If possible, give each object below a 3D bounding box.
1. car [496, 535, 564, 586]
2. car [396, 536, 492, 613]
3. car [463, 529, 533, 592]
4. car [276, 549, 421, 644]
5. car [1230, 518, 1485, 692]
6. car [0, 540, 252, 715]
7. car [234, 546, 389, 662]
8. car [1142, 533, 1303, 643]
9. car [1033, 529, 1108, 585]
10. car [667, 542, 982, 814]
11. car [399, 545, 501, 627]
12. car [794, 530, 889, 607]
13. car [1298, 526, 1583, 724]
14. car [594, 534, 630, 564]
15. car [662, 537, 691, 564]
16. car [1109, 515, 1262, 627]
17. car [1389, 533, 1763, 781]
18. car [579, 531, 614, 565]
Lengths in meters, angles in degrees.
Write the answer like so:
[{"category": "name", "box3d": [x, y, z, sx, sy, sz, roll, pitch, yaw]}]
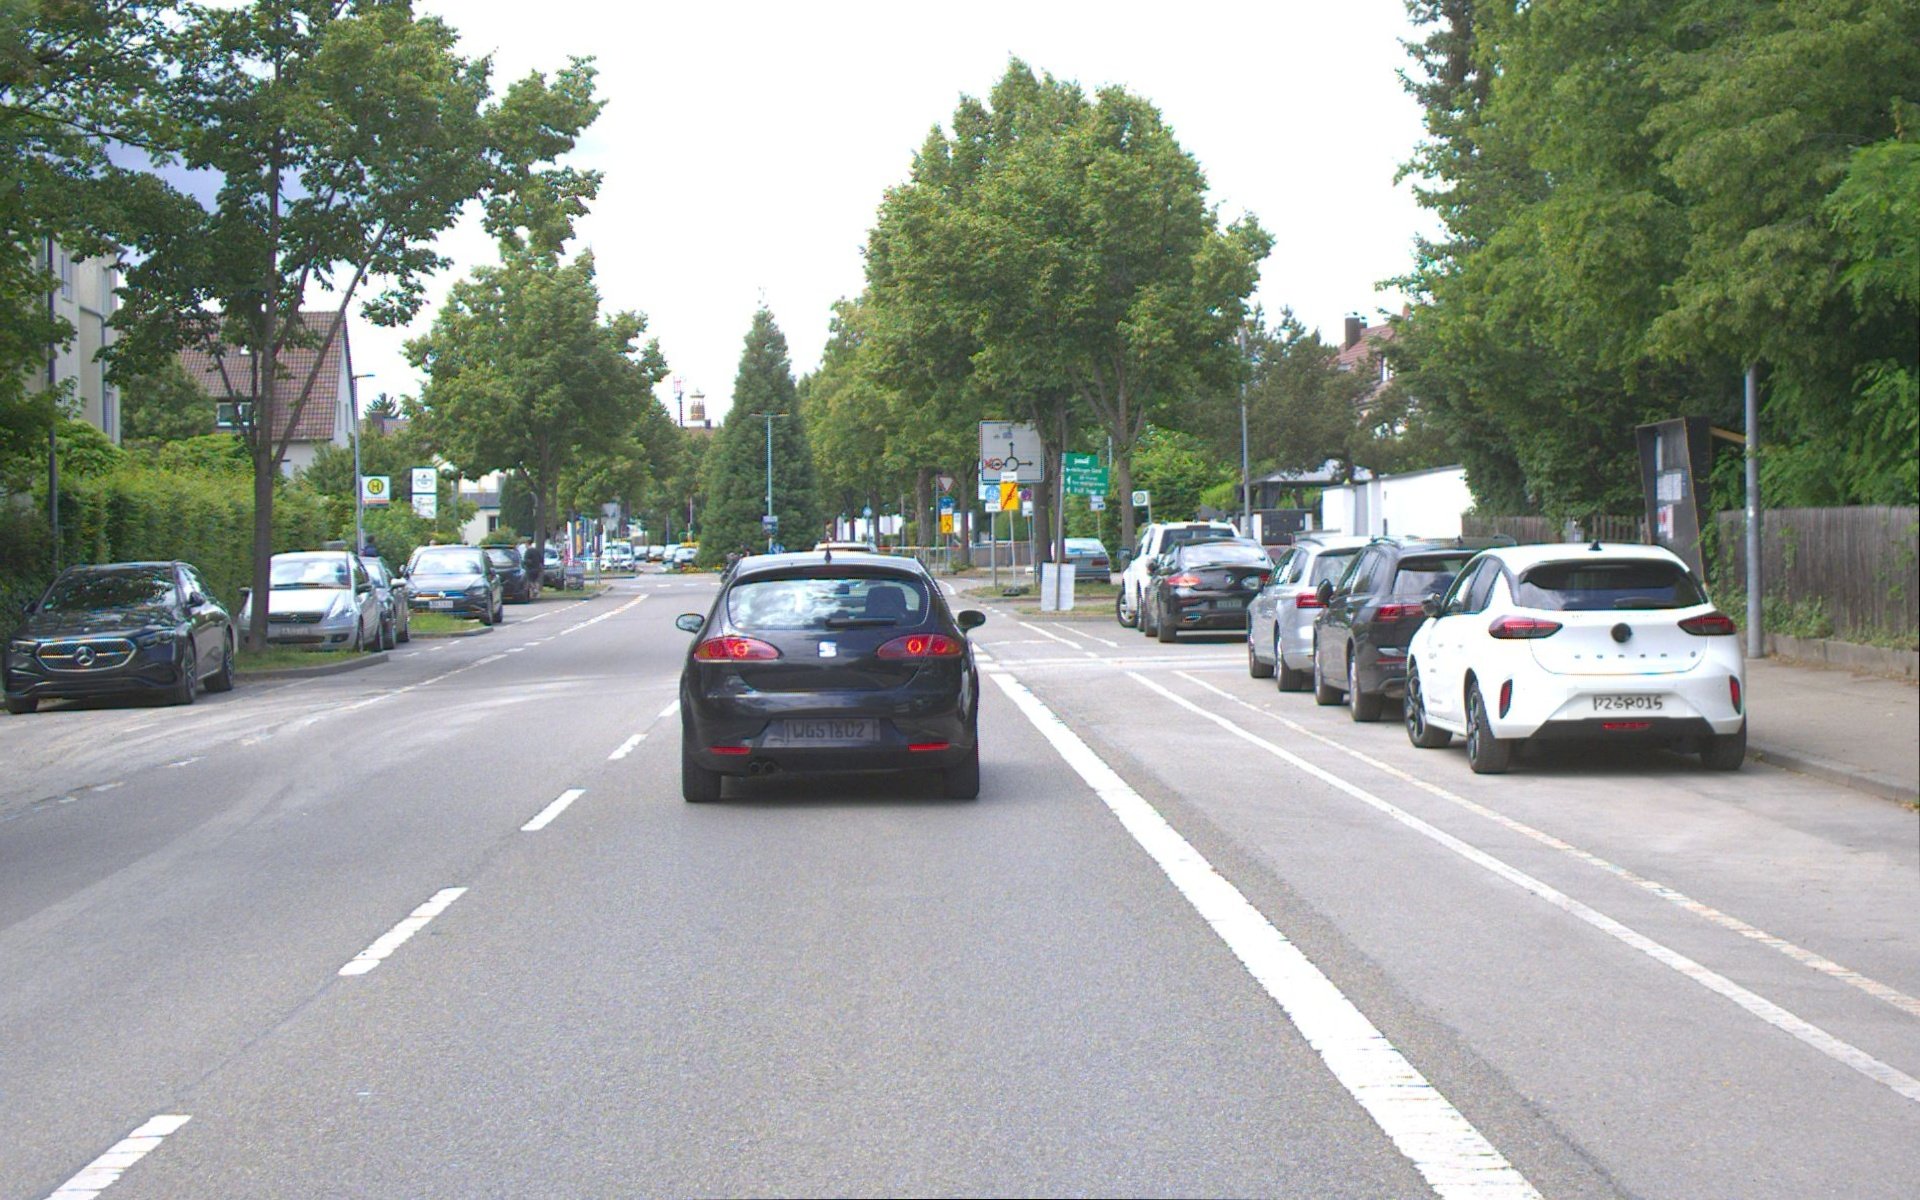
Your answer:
[{"category": "car", "box3d": [-14.290, -1.318, 114.340, 1.860, 1.648, 4.295, -1, 1, -2]}, {"category": "car", "box3d": [-11.514, -0.602, 76.939, 1.820, 1.628, 4.587, -2, 1, -5]}, {"category": "car", "box3d": [-13.154, -1.136, 98.023, 1.724, 1.719, 4.566, -1, 1, -5]}, {"category": "car", "box3d": [-10.381, -0.101, 58.699, 1.993, 1.480, 4.891, -2, 1, -5]}, {"category": "car", "box3d": [3.861, 0.018, 34.181, 1.861, 1.605, 4.687, 0, 1, -2]}, {"category": "car", "box3d": [-9.001, 0.238, 36.825, 2.095, 1.641, 5.039, -2, 2, -4]}, {"category": "car", "box3d": [-9.619, 0.026, 51.257, 1.718, 1.607, 3.911, -2, 1, -3]}, {"category": "car", "box3d": [3.587, -0.200, 47.686, 1.863, 1.412, 4.603, -1, 1, 0]}, {"category": "car", "box3d": [2.891, -1.128, 90.633, 1.611, 1.372, 4.387, -1, 0, -2]}, {"category": "car", "box3d": [-0.761, 0.399, 21.117, 1.732, 1.481, 4.000, 1, 1, 0]}, {"category": "car", "box3d": [-10.208, -0.313, 68.995, 1.677, 1.546, 4.273, -1, 1, -4]}, {"category": "car", "box3d": [-2.564, -0.703, 74.595, 1.993, 1.607, 4.000, -1, 1, -2]}, {"category": "car", "box3d": [3.943, 0.143, 28.899, 1.702, 1.505, 4.538, 0, 2, -1]}, {"category": "car", "box3d": [-19.408, -2.849, 191.730, 1.797, 1.596, 4.001, -2, 1, -4]}, {"category": "car", "box3d": [-17.581, -3.085, 213.438, 1.568, 1.628, 3.622, -1, 1, -2]}, {"category": "car", "box3d": [3.488, -0.462, 53.762, 1.900, 1.637, 4.117, -1, 1, -3]}, {"category": "car", "box3d": [4.040, 0.328, 23.160, 1.768, 1.505, 4.031, -1, 1, 0]}, {"category": "car", "box3d": [-22.165, -3.186, 209.663, 2.029, 1.964, 4.001, -2, 1, -5]}]
